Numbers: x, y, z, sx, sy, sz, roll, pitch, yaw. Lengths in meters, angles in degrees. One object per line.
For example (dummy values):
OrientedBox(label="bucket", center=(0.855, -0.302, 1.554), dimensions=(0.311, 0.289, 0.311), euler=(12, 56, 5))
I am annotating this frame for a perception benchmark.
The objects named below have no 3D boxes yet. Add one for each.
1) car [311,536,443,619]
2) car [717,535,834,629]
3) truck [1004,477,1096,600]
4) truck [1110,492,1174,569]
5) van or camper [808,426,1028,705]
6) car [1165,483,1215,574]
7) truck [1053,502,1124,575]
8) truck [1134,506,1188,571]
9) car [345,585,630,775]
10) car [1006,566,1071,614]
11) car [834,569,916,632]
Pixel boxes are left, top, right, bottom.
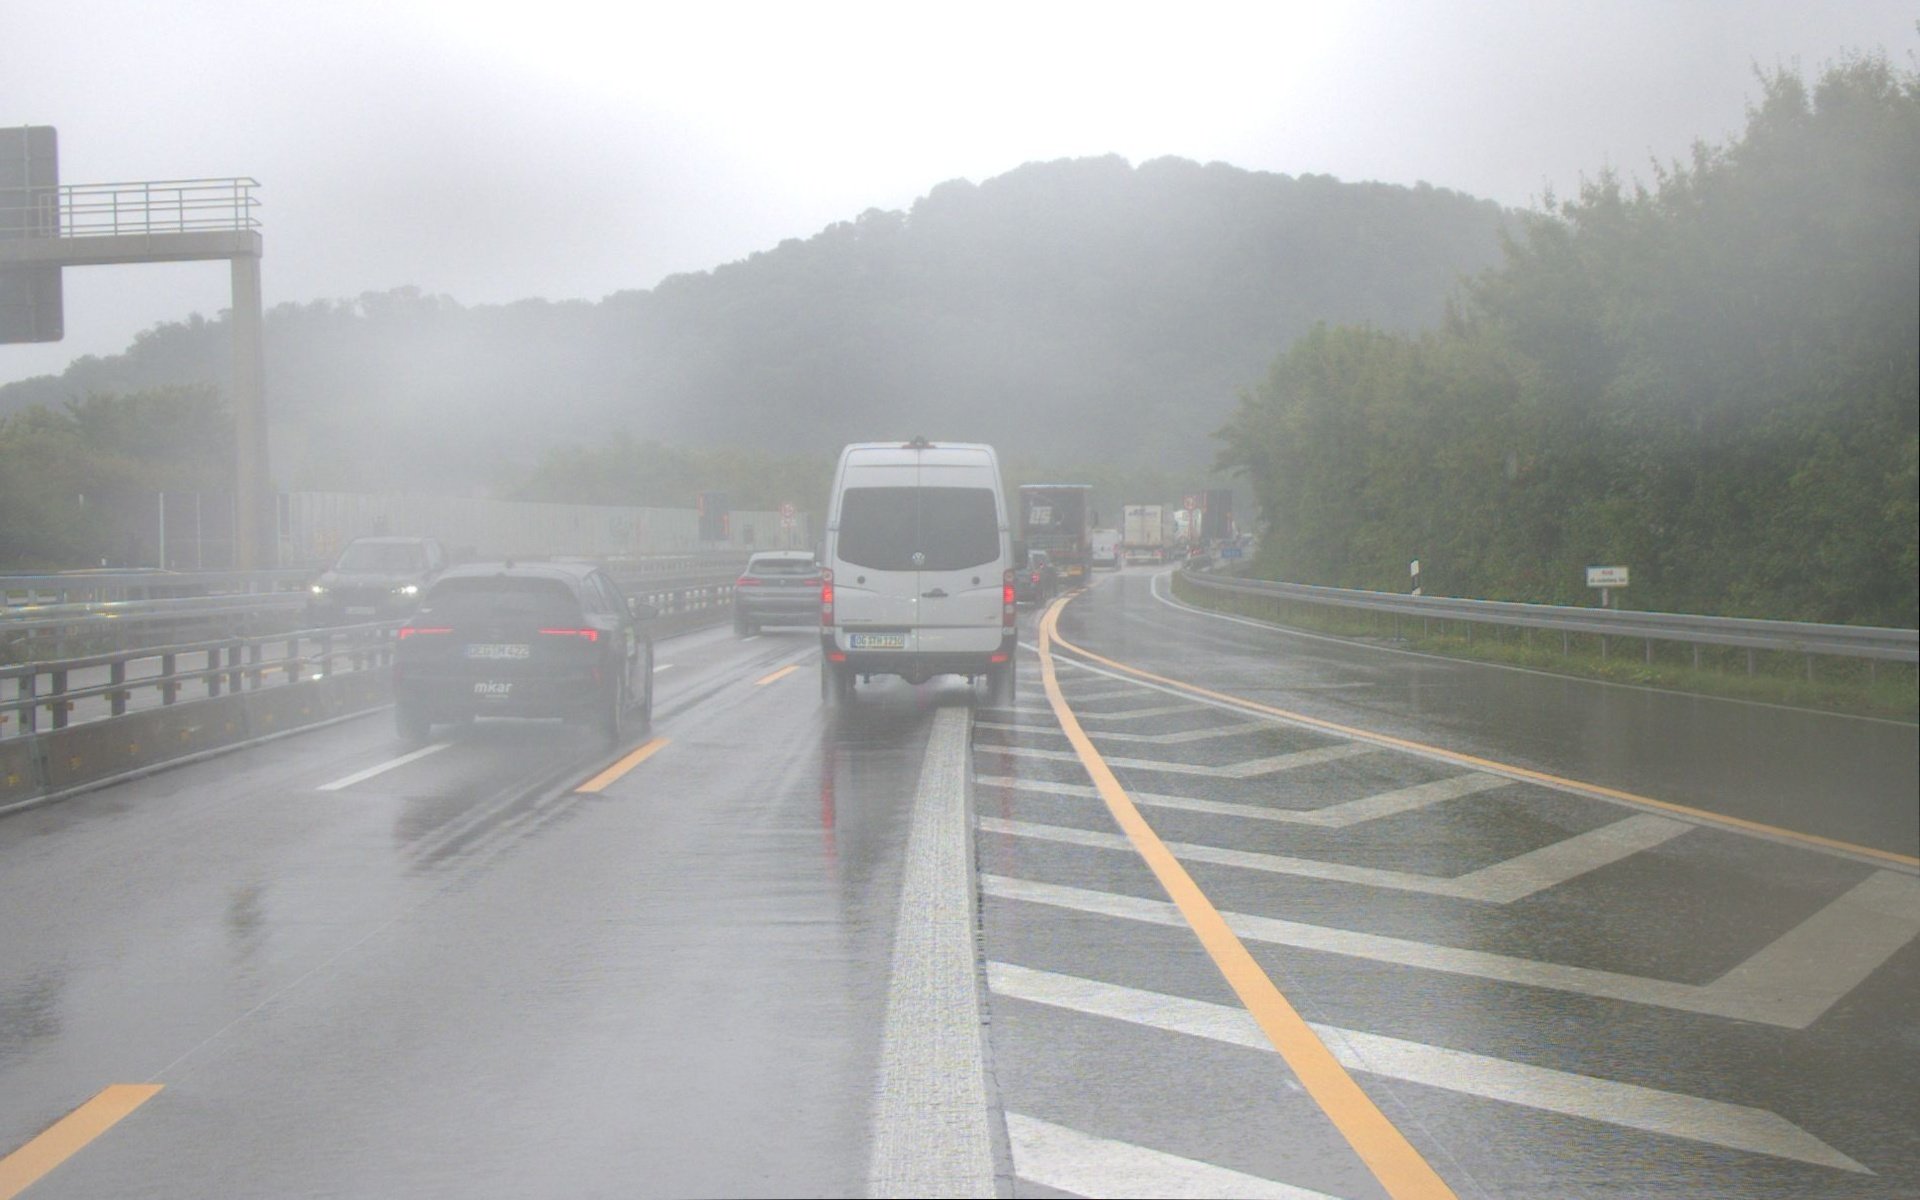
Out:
OrientedBox(label="car", center=(-9.781, -0.368, 57.878), dimensions=(1.631, 1.346, 3.655), euler=(0, 0, -1))
OrientedBox(label="car", center=(-3.313, -0.327, 62.307), dimensions=(1.867, 1.653, 3.988), euler=(0, 0, 0))
OrientedBox(label="truck", center=(3.621, -2.450, 140.923), dimensions=(3.320, 4.768, 9.907), euler=(1, 0, -1))
OrientedBox(label="truck", center=(12.011, -4.514, 226.136), dimensions=(3.929, 4.768, 9.905), euler=(1, 0, 4))
OrientedBox(label="van or camper", center=(-0.414, -0.351, 35.748), dimensions=(2.139, 2.712, 4.648), euler=(0, 0, 0))
OrientedBox(label="car", center=(10.701, -3.304, 160.532), dimensions=(2.058, 4.177, 6.746), euler=(0, 0, 2))
OrientedBox(label="truck", center=(6.932, -3.270, 186.909), dimensions=(3.320, 3.749, 9.907), euler=(1, 0, -1))
OrientedBox(label="truck", center=(15.434, -4.668, 263.463), dimensions=(3.929, 4.768, 9.905), euler=(1, 0, 4))
OrientedBox(label="car", center=(-3.835, 0.603, 28.610), dimensions=(1.938, 1.422, 4.761), euler=(1, 0, -3))
OrientedBox(label="car", center=(2.055, -0.264, 90.777), dimensions=(1.384, 1.252, 3.123), euler=(0, 0, -5))
OrientedBox(label="car", center=(-2.039, -0.001, 83.085), dimensions=(1.852, 1.495, 4.000), euler=(0, 0, 0))
